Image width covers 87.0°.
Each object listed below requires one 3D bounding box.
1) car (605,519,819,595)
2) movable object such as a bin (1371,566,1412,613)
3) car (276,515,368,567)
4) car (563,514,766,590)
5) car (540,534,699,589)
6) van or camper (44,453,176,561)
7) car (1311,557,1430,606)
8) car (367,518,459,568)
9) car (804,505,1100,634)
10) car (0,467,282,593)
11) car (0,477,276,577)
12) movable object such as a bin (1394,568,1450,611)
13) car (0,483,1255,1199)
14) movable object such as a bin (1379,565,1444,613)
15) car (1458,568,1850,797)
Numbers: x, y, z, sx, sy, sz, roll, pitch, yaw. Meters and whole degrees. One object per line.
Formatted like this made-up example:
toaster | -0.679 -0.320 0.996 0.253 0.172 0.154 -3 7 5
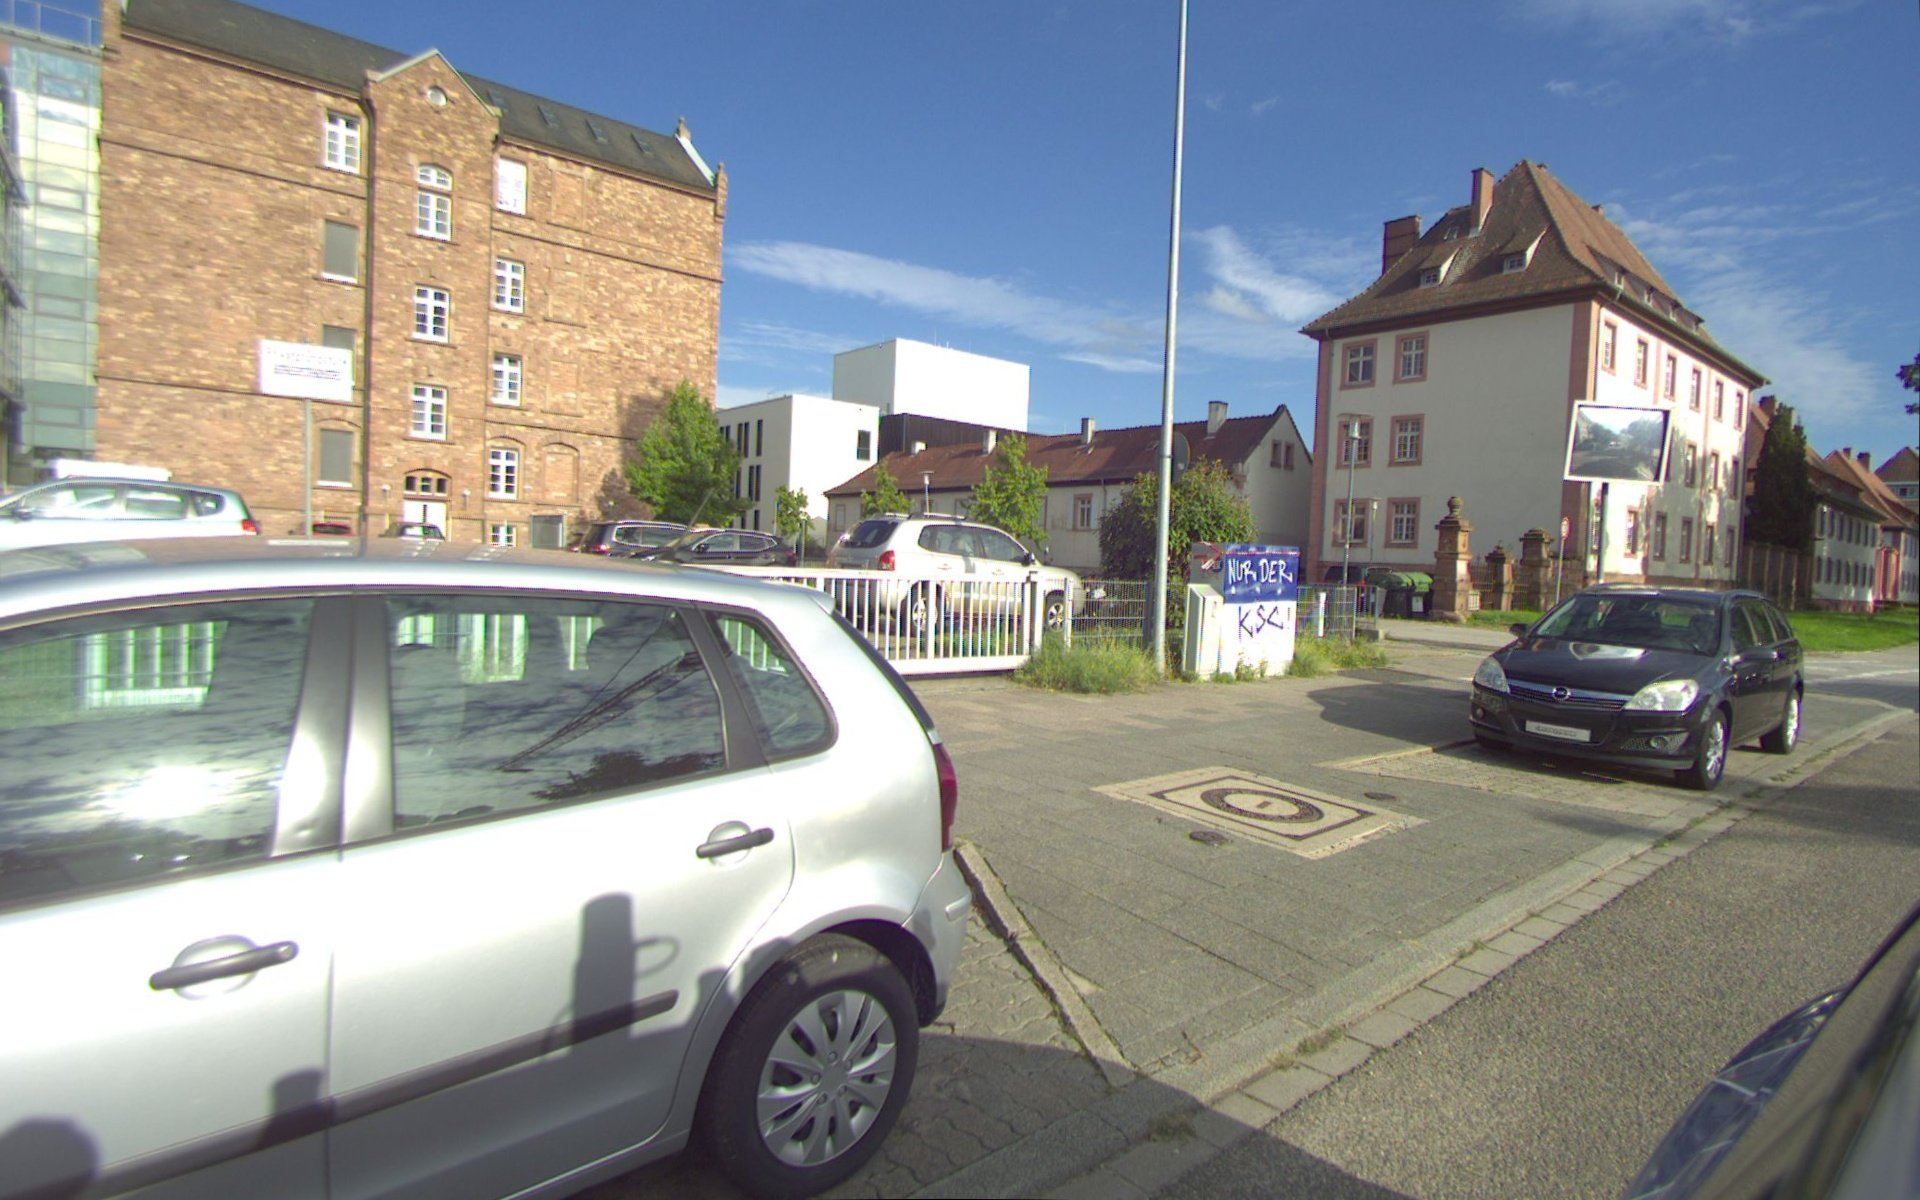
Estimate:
car | -5.788 -0.998 23.870 4.524 1.608 1.856 -1 5 -39
movable object such as a bin | 13.636 -0.338 31.967 0.926 1.440 0.831 0 2 -43
car | -20.084 -1.879 31.793 1.964 1.459 3.998 0 4 -39
car | -7.545 -1.219 26.166 4.724 1.764 1.852 -1 5 -45
car | -9.603 -1.065 28.745 3.893 1.280 1.712 2 3 -45
van or camper | -23.368 -2.513 27.841 2.551 2.587 5.251 0 4 -41
car | 15.138 -0.664 37.262 4.421 1.627 2.000 0 4 -37
car | -18.156 -1.906 33.515 1.964 1.459 3.998 0 4 -39
car | -0.049 -0.464 15.269 4.077 1.686 1.999 0 4 -39
car | -11.311 -0.893 13.135 3.932 1.459 1.997 0 4 -43
car | -13.983 -1.187 16.873 1.994 1.459 3.938 5 4 43
movable object such as a bin | 14.080 -0.331 30.825 1.075 1.246 1.192 0 3 -43
car | -1.630 0.515 2.268 4.716 1.492 2.021 -1 5 -39
movable object such as a bin | 14.740 -0.381 33.045 1.518 1.477 1.415 0 3 -43
car | 6.222 0.522 8.888 4.192 1.514 1.722 -1 3 -40
